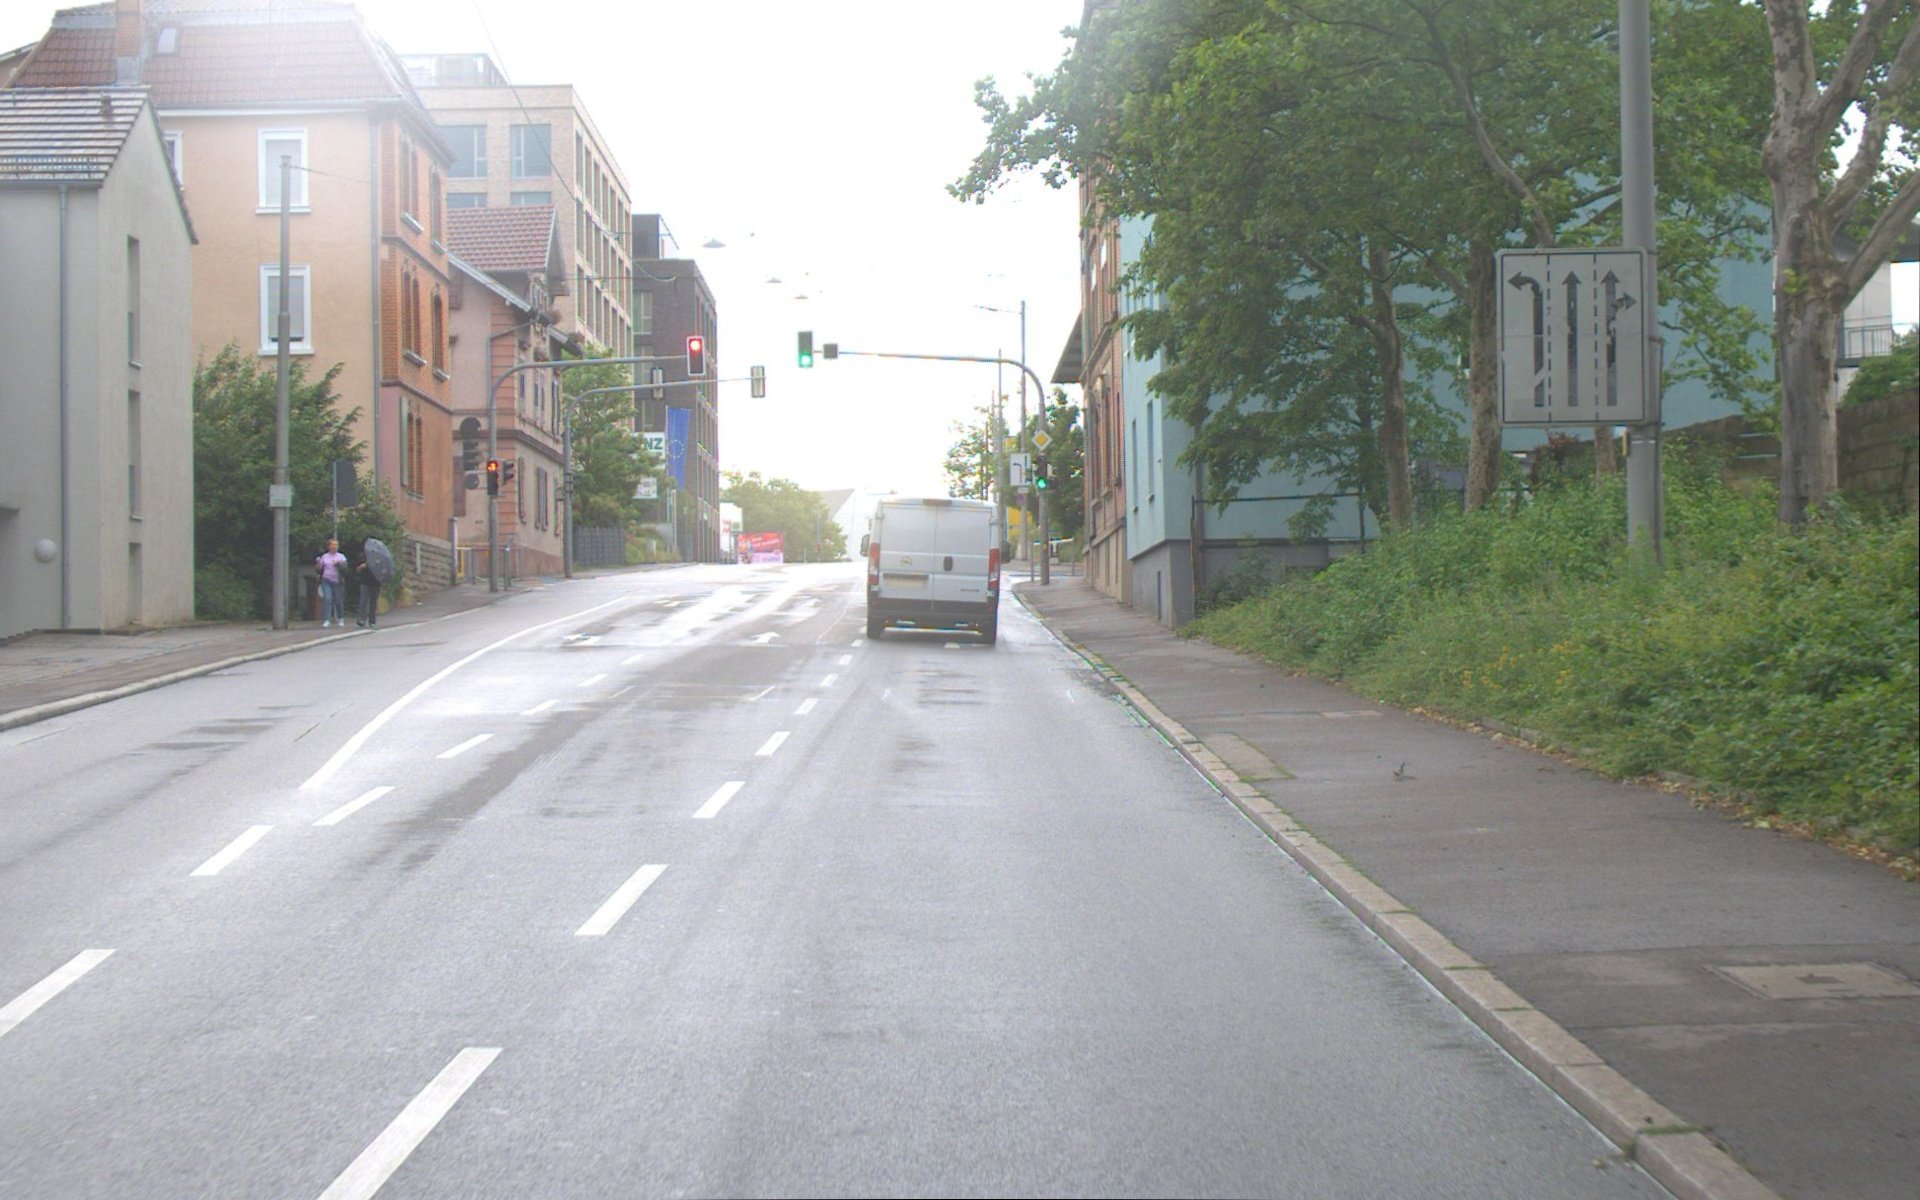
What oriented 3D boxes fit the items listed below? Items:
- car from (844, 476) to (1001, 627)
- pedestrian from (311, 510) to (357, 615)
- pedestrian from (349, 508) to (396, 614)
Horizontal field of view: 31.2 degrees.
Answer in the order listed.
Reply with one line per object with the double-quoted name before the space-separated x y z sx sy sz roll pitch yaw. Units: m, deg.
"car" -0.567 -0.715 54.028 2.336 2.223 4.000 -1 -1 0
"pedestrian" -12.009 -0.721 65.977 0.671 2.007 0.941 0 1 4
"pedestrian" -11.204 -0.737 65.569 0.671 2.007 0.941 0 1 4
